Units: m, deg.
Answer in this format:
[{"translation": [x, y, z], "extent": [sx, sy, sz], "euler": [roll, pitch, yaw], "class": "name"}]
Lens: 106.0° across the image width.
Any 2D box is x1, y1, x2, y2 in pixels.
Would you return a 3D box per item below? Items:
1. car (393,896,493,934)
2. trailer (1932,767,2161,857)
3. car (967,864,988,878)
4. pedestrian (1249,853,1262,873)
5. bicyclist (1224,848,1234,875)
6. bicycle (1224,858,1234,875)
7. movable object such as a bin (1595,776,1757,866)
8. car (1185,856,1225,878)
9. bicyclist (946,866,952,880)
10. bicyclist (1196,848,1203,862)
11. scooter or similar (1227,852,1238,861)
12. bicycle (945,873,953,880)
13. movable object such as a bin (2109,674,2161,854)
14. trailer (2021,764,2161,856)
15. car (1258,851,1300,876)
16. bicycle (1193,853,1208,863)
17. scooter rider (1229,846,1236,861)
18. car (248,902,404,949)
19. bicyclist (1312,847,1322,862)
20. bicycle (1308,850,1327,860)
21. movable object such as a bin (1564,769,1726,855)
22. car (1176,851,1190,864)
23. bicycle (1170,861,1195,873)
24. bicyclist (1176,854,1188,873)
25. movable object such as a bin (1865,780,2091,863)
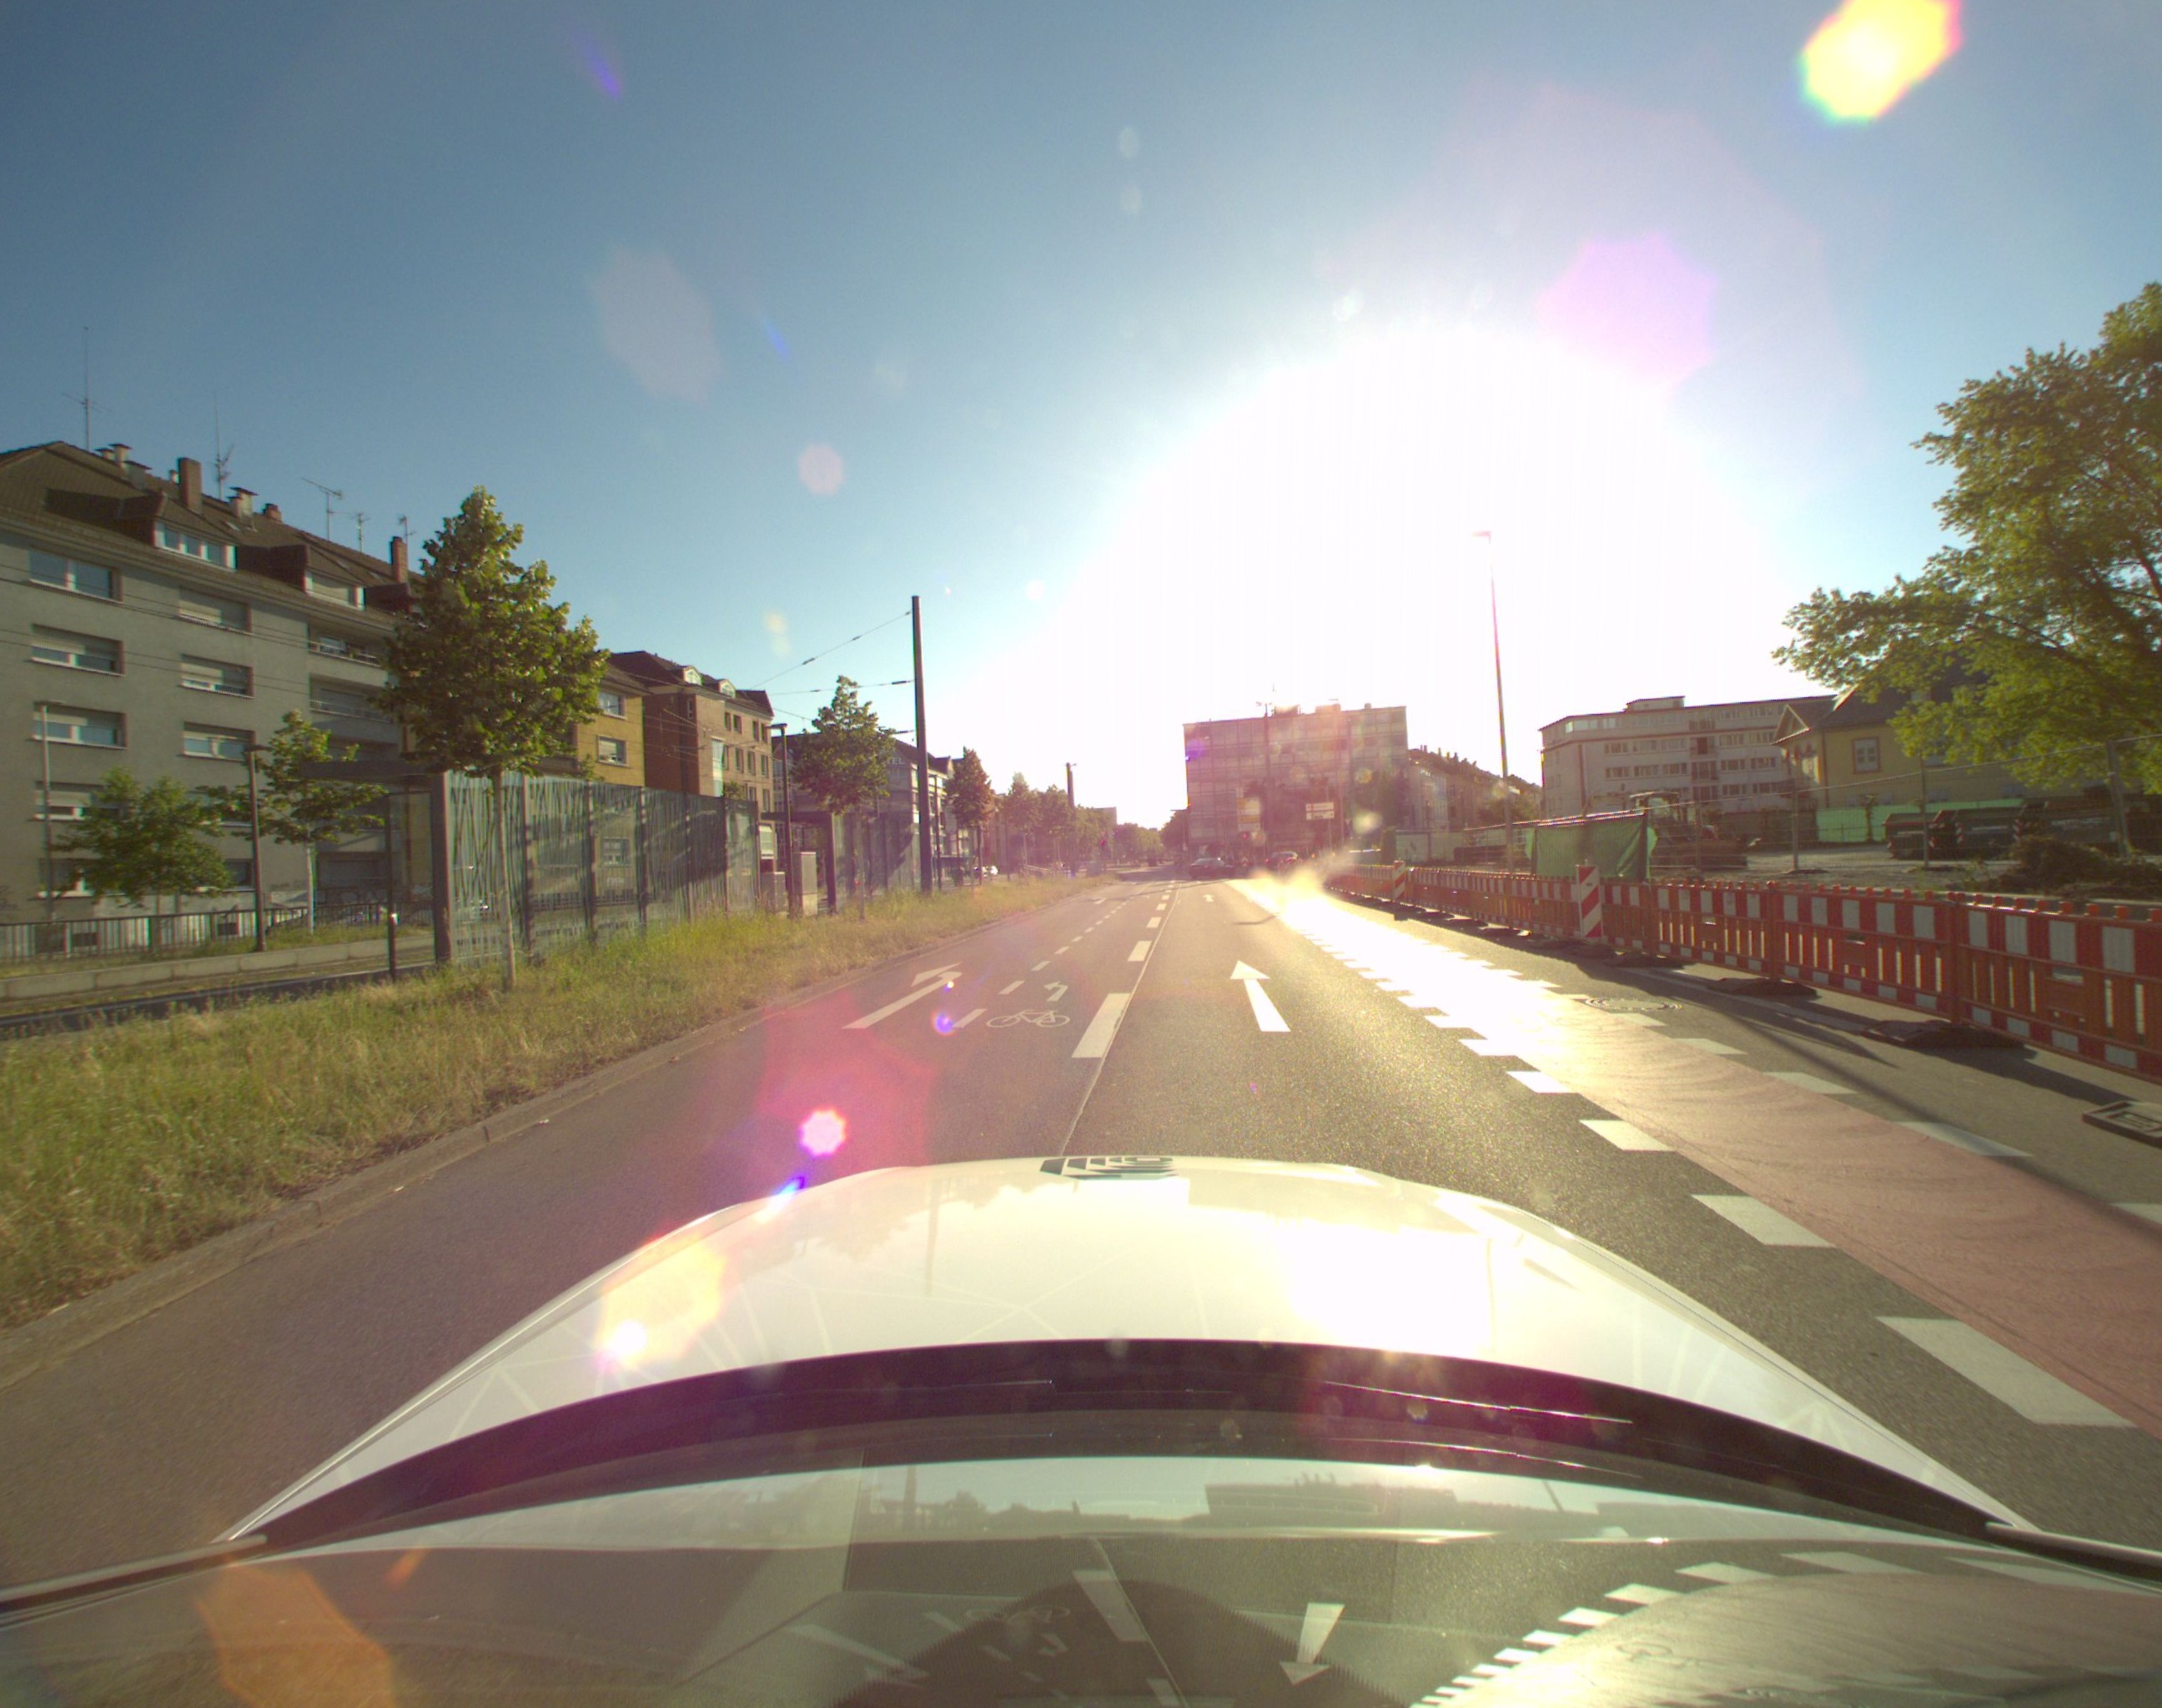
[{"translation": [-30.557, 2.895, 39.143], "extent": [1.738, 1.486, 3.559], "euler": [-3, -1, 7], "class": "car"}, {"translation": [31.257, -1.303, 26.201], "extent": [5.009, 2.323, 2.225], "euler": [-3, -6, 3], "class": "trailer"}, {"translation": [-15.242, 2.476, 120.397], "extent": [1.982, 1.860, 4.010], "euler": [-3, -1, 9], "class": "car"}, {"translation": [14.329, 0.764, 66.806], "extent": [0.874, 1.597, 0.656], "euler": [-3, -1, 6], "class": "pedestrian"}, {"translation": [11.308, 0.530, 62.253], "extent": [0.640, 2.013, 1.069], "euler": [-1, 1, 8], "class": "bicyclist"}, {"translation": [11.294, 0.920, 62.104], "extent": [0.641, 1.223, 2.053], "euler": [-1, 1, 8], "class": "bicycle"}, {"translation": [20.140, -1.032, 27.916], "extent": [2.264, 2.704, 4.951], "euler": [-3, -1, 7], "class": "movable object such as a bin"}, {"translation": [8.754, 0.889, 57.296], "extent": [1.728, 1.426, 4.023], "euler": [-3, -1, 24], "class": "car"}, {"translation": [-18.703, 2.701, 115.538], "extent": [0.589, 1.862, 0.643], "euler": [-3, -1, 8], "class": "bicyclist"}, {"translation": [14.303, 0.105, 98.143], "extent": [0.662, 1.712, 0.538], "euler": [-3, -1, -3], "class": "bicyclist"}, {"translation": [18.144, 0.303, 97.384], "extent": [1.169, 1.072, 0.529], "euler": [-3, -1, -3], "class": "scooter or similar"}, {"translation": [-18.712, 3.213, 115.464], "extent": [0.595, 0.915, 1.840], "euler": [-3, -1, 9], "class": "bicycle"}, {"translation": [18.178, -1.488, 11.775], "extent": [1.979, 2.904, 4.015], "euler": [-3, -1, 14], "class": "movable object such as a bin"}, {"translation": [31.456, -1.337, 23.747], "extent": [5.009, 2.323, 2.225], "euler": [-3, -6, 3], "class": "trailer"}, {"translation": [14.869, 0.722, 60.987], "extent": [1.974, 1.693, 4.025], "euler": [-1, 1, 30], "class": "car"}, {"translation": [14.406, 0.443, 98.138], "extent": [1.771, 1.072, 0.534], "euler": [-3, -1, -3], "class": "bicycle"}, {"translation": [18.128, -0.023, 97.385], "extent": [0.662, 1.712, 0.526], "euler": [-3, -1, -3], "class": "scooter rider"}, {"translation": [-31.157, 2.902, 33.820], "extent": [1.983, 1.508, 4.440], "euler": [-3, -1, 7], "class": "car"}, {"translation": [29.191, 0.070, 100.765], "extent": [0.895, 1.753, 0.655], "euler": [-3, -1, 2], "class": "bicyclist"}, {"translation": [29.289, 0.106, 100.764], "extent": [2.085, 1.137, 0.659], "euler": [-3, -1, 2], "class": "bicycle"}, {"translation": [26.708, -1.887, 38.928], "extent": [6.002, 3.557, 2.880], "euler": [-3, -1, 32], "class": "movable object such as a bin"}, {"translation": [19.996, 0.750, 159.656], "extent": [2.473, 2.392, 5.945], "euler": [-5, -1, 6], "class": "car"}, {"translation": [9.374, 1.182, 75.186], "extent": [2.212, 1.026, 0.684], "euler": [-3, -1, 10], "class": "bicycle"}, {"translation": [9.340, 0.882, 75.198], "extent": [0.953, 1.661, 0.693], "euler": [-3, -1, 10], "class": "bicyclist"}, {"translation": [31.293, -1.093, 28.581], "extent": [5.009, 2.323, 2.225], "euler": [-3, -6, 3], "class": "movable object such as a bin"}]
